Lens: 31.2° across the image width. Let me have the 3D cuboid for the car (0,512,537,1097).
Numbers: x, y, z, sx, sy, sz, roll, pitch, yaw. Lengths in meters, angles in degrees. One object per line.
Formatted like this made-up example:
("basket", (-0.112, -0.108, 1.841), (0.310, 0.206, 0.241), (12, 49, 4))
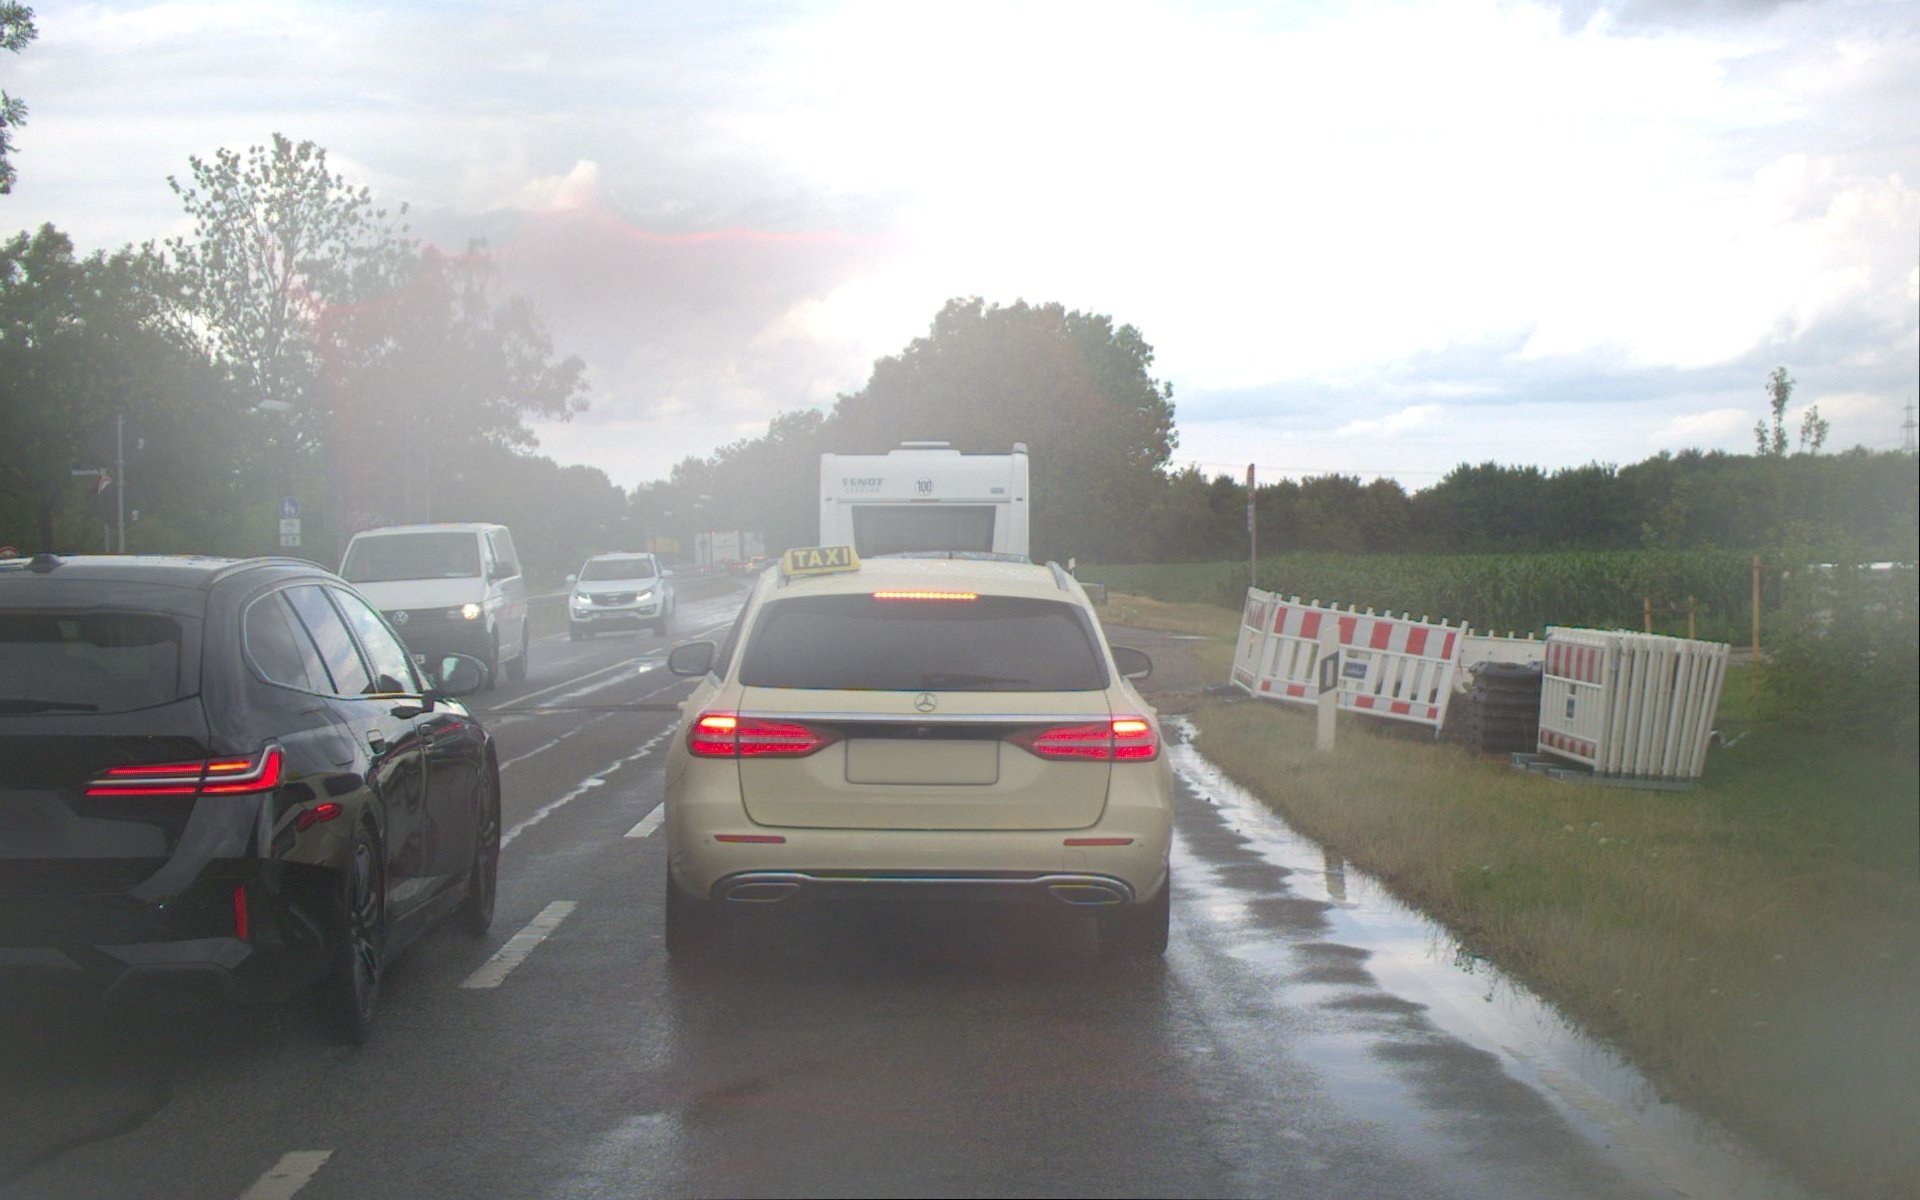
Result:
("car", (-2.814, 0.512, 11.430), (2.302, 1.542, 4.633), (1, 1, -1))

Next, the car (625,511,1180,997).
("car", (-0.225, 0.490, 13.435), (1.842, 1.612, 4.000), (0, 1, -1))

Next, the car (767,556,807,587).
("car", (-8.212, -1.357, 163.209), (1.719, 1.399, 4.044), (-3, 1, -2))

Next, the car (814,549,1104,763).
("car", (-0.044, 0.368, 25.851), (1.993, 1.457, 4.000), (1, 1, -1))

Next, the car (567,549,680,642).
("car", (-6.542, -0.119, 67.201), (1.704, 1.665, 4.156), (-3, 1, 0))

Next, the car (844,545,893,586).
("car", (-4.169, -1.576, 156.058), (1.993, 1.766, 4.001), (-1, 1, -5))

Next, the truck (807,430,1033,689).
("truck", (-0.490, -0.488, 40.441), (2.363, 2.719, 7.315), (-1, 1, -1))

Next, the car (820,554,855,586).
("car", (-7.382, -1.796, 207.141), (1.895, 1.888, 3.844), (-1, 1, -4))

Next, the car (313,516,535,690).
("car", (-6.282, 0.014, 40.797), (1.916, 1.855, 4.685), (-3, 1, -1))
